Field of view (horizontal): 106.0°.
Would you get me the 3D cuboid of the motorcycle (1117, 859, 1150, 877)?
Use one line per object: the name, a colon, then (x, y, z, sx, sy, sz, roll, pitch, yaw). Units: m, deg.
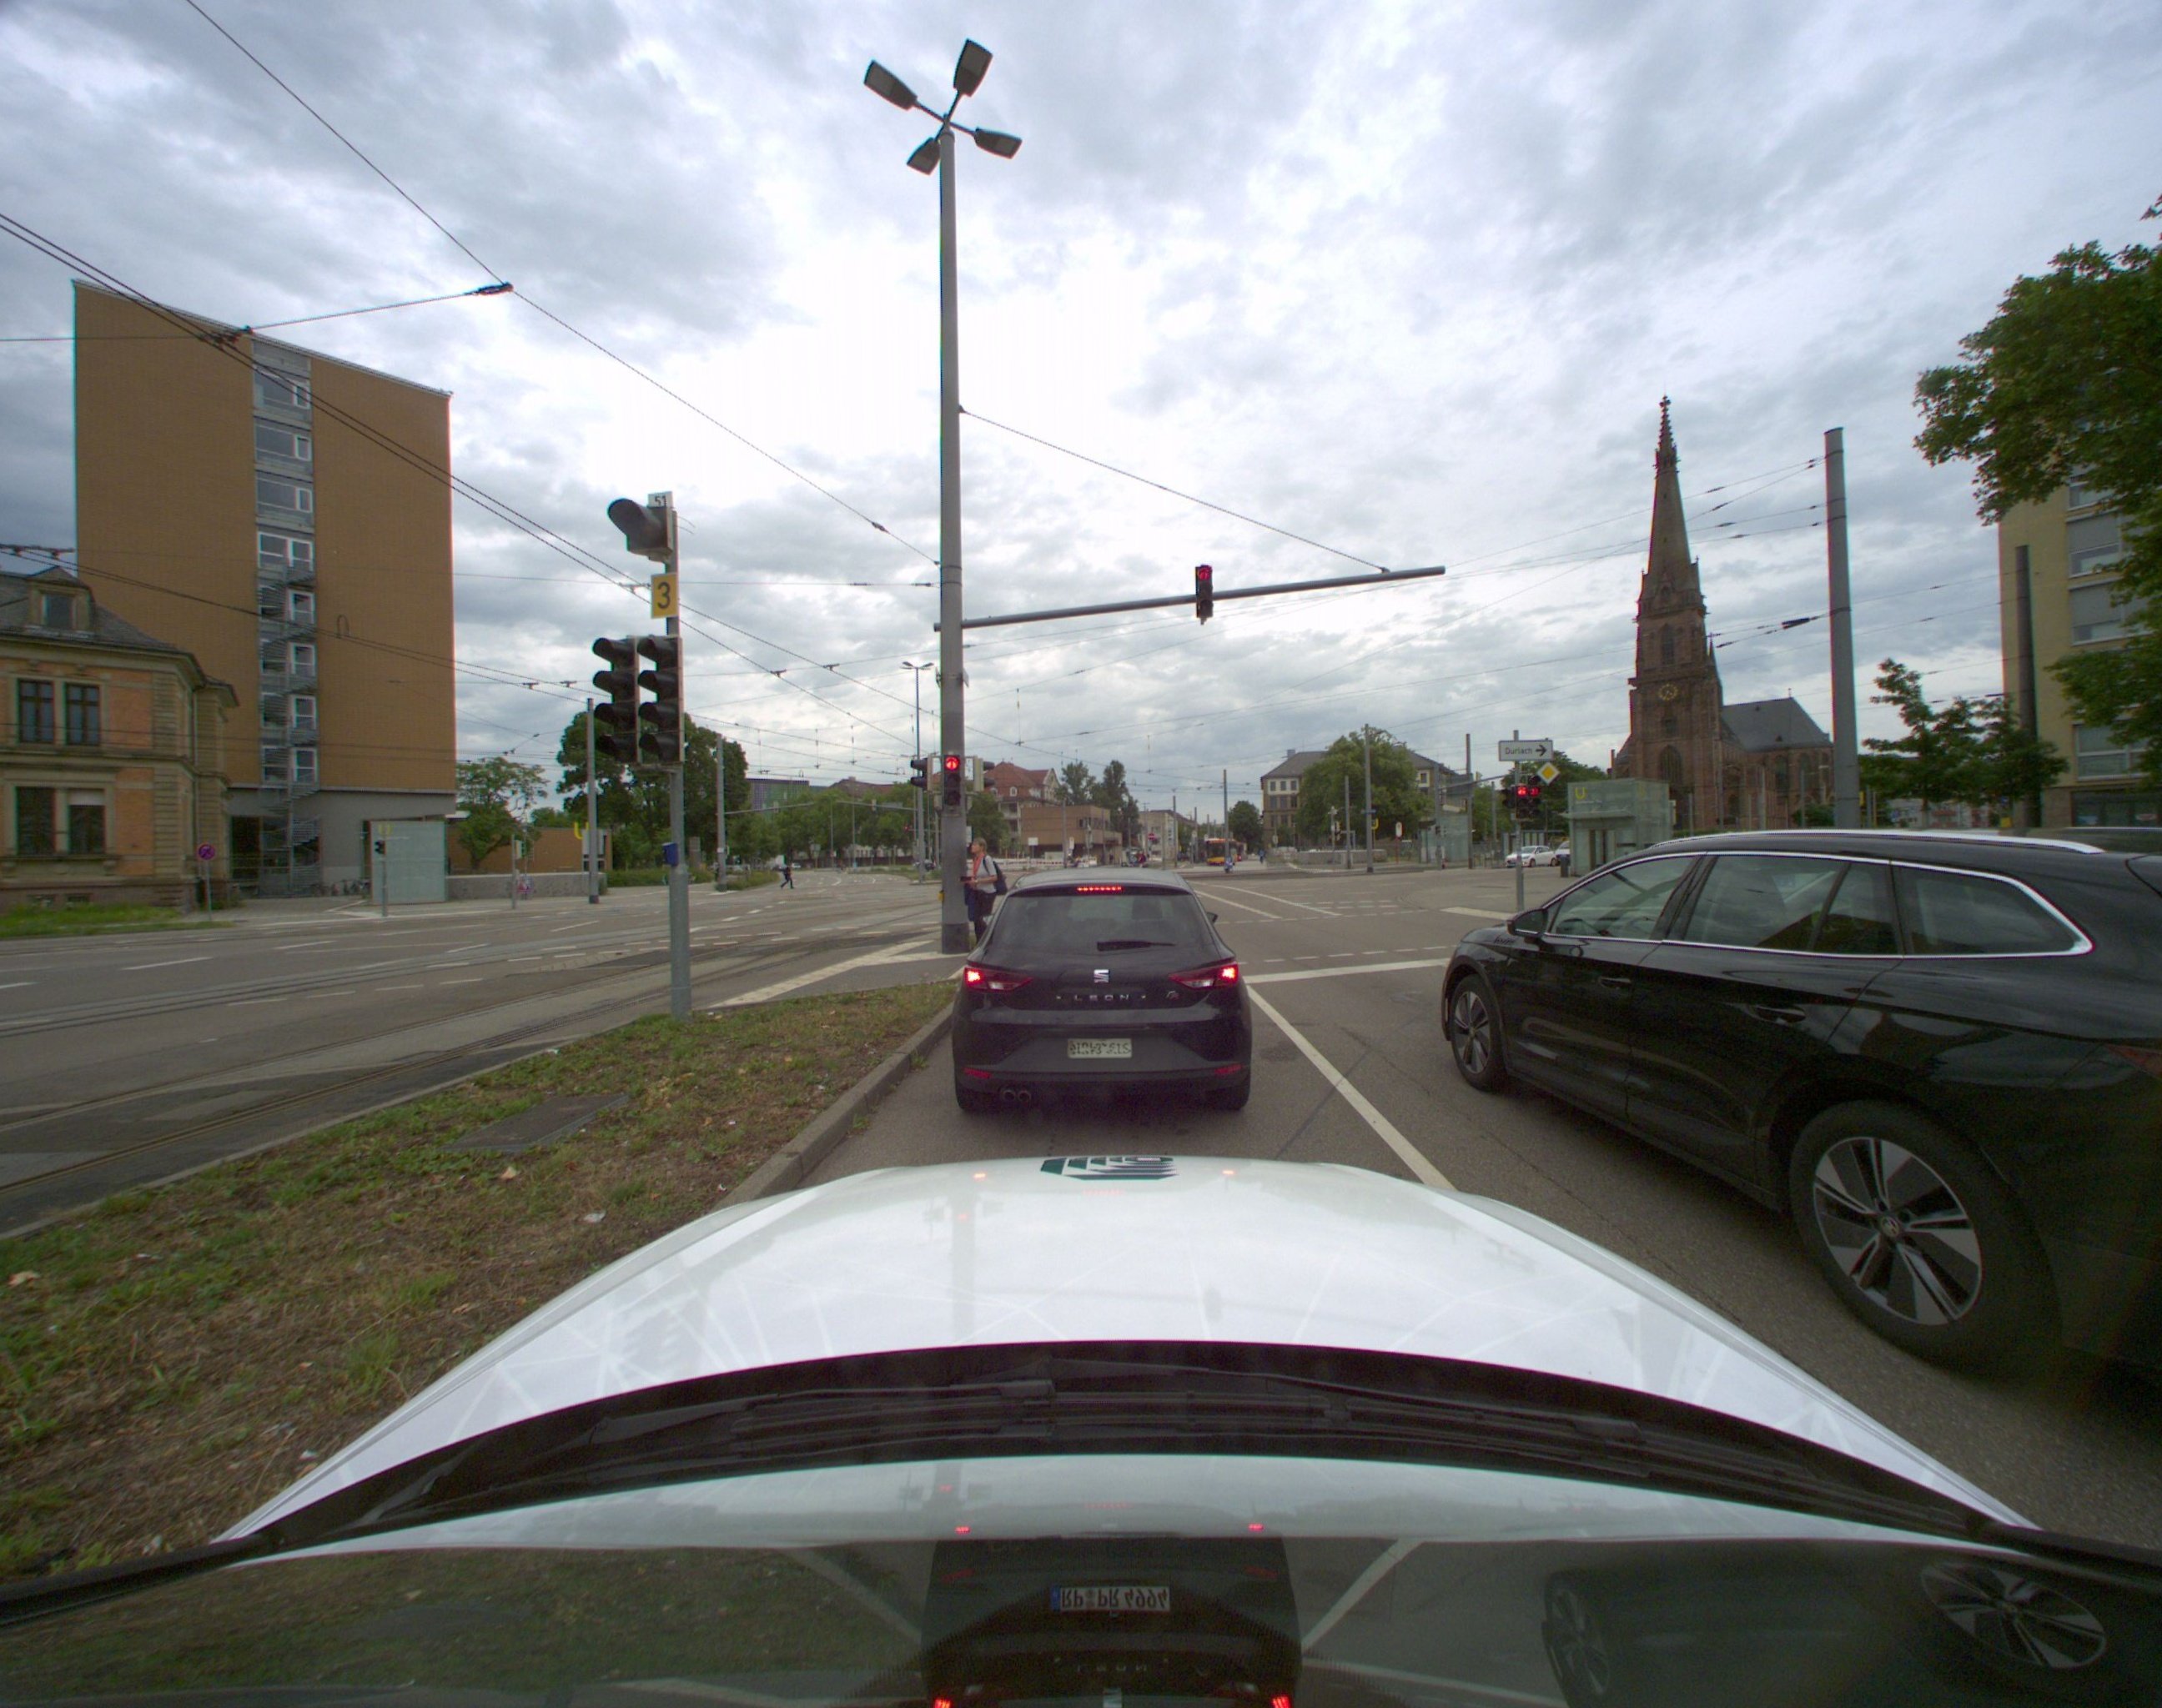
motorcycle: (3.589, 0.958, 55.558, 2.149, 1.139, 0.737, -1, 0, -31)

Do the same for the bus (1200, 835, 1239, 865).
bus: (15.966, -0.438, 93.278, 2.938, 3.123, 11.589, -2, 0, 16)

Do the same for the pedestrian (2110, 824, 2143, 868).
pedestrian: (39.036, -0.299, 30.401, 0.875, 1.638, 0.631, -1, 0, -31)

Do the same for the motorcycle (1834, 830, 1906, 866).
motorcycle: (26.956, -0.217, 27.817, 2.386, 1.168, 0.762, -1, 0, -19)

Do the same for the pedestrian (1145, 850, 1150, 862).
pedestrian: (11.300, 0.315, 138.977, 0.615, 1.918, 0.715, -3, -2, 27)

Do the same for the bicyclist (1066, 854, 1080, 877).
bicyclist: (-0.593, 0.866, 61.886, 0.858, 1.673, 0.649, -1, 0, -26)

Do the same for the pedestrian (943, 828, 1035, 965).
pedestrian: (-1.360, 0.598, 12.026, 1.110, 1.907, 0.727, 0, -1, -41)

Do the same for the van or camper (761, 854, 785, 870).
van or camper: (-62.828, 1.729, 165.994, 5.434, 3.124, 2.410, -2, 0, 43)

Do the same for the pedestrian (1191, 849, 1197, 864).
pedestrian: (14.420, 0.359, 103.888, 0.617, 1.918, 0.701, -2, 0, 11)

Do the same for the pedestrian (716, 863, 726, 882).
pedestrian: (-39.192, 2.013, 88.715, 0.799, 1.981, 0.872, -1, -2, -33)

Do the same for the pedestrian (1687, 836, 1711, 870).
pedestrian: (30.265, -0.045, 39.866, 0.875, 1.638, 0.631, -1, 0, -32)

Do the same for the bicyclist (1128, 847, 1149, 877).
bicyclist: (3.678, 0.528, 52.090, 1.003, 1.898, 0.768, -1, -1, -44)

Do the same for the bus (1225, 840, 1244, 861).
bus: (25.731, -0.603, 136.289, 2.635, 3.283, 11.034, -2, 0, 13)

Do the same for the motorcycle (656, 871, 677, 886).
motorcycle: (-35.443, 2.081, 69.602, 1.481, 1.268, 0.505, -1, 0, -44)

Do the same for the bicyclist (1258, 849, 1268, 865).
bicyclist: (21.881, 0.354, 97.984, 0.869, 1.851, 1.046, -1, 0, -4)

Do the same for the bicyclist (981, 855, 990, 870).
bicyclist: (-11.428, 1.054, 97.340, 0.886, 1.732, 0.888, -1, 0, -20)

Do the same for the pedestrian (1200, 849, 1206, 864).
pedestrian: (15.592, 0.329, 104.191, 0.617, 1.918, 0.701, -2, 0, 11)

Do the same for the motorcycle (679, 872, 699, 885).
motorcycle: (-34.416, 2.166, 71.507, 0.506, 1.111, 1.751, -2, 0, 15)

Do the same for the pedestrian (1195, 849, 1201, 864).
pedestrian: (15.149, 0.308, 105.344, 0.618, 1.918, 0.711, -2, 0, 5)

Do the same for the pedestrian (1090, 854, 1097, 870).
pedestrian: (1.508, 0.946, 97.525, 0.704, 1.918, 0.625, -2, 0, 9)

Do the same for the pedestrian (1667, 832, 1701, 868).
pedestrian: (31.066, -0.199, 41.963, 0.950, 1.797, 1.076, -1, -2, -33)

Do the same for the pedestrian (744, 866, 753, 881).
pedestrian: (-43.053, 2.525, 105.492, 0.880, 1.981, 0.791, -1, -2, -17)

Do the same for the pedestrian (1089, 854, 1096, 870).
pedestrian: (1.351, 0.932, 96.732, 0.704, 1.918, 0.625, -2, 0, 9)

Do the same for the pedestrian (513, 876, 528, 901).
pedestrian: (-30.753, 1.903, 44.684, 0.492, 1.336, 0.577, -2, -1, 41)

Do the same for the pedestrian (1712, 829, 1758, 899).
pedestrian: (18.497, 0.266, 23.030, 0.878, 1.930, 1.023, -1, 0, 43)

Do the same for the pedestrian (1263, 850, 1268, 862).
pedestrian: (31.198, 0.269, 137.937, 0.659, 2.013, 0.692, -2, 0, 2)

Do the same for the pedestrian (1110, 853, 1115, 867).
pedestrian: (4.352, 0.828, 112.716, 0.618, 1.918, 0.711, -2, 0, 5)

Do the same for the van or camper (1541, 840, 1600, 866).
van or camper: (35.276, -0.097, 58.685, 4.321, 1.742, 1.979, -1, -2, -34)

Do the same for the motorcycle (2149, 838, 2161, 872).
motorcycle: (31.884, 0.018, 23.698, 1.020, 0.997, 0.863, -1, 0, -43)

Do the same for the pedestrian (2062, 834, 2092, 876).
pedestrian: (39.602, 0.038, 32.378, 0.875, 1.638, 0.631, -1, 0, -32)

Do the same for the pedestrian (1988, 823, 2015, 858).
pedestrian: (44.573, -0.647, 39.430, 0.640, 1.638, 0.778, -1, 0, -35)
